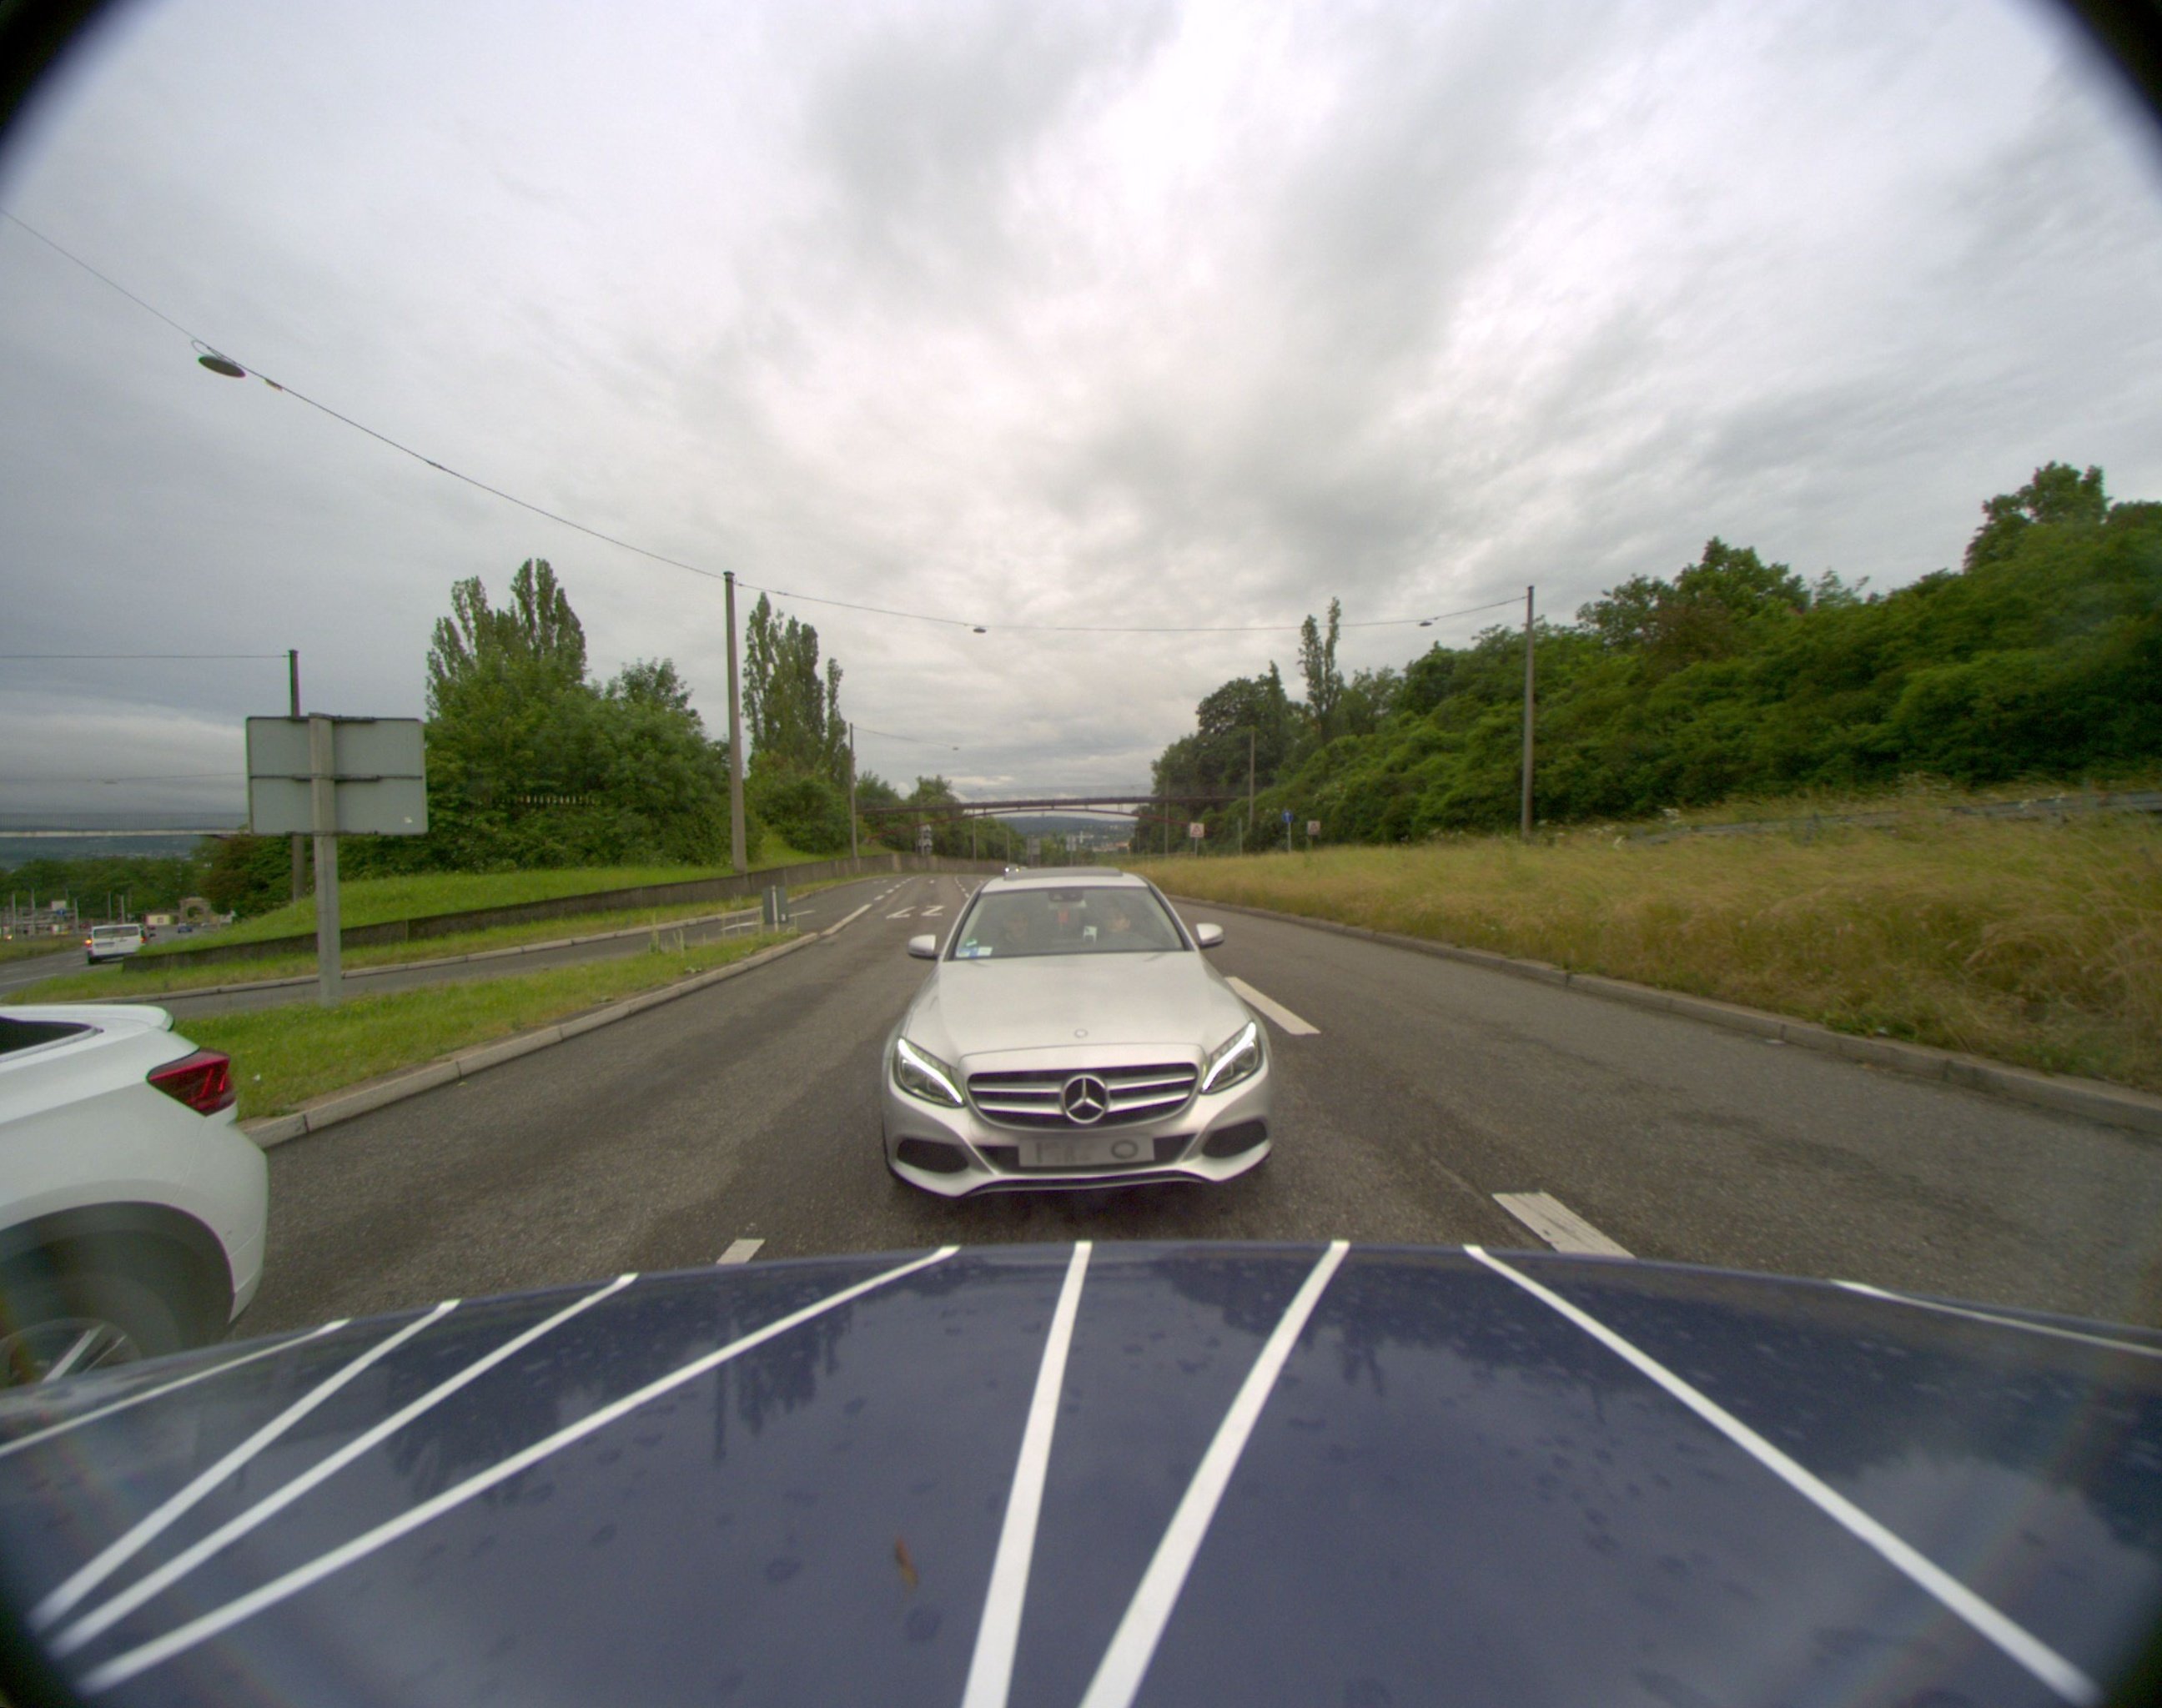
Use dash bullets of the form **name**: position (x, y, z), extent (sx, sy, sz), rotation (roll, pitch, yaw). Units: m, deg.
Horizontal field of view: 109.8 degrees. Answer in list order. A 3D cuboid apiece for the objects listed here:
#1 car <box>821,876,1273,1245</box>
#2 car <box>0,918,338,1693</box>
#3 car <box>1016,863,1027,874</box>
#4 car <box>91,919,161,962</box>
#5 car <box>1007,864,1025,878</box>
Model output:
- **car**: position (-0.038, 0.957, 5.303), extent (1.894, 1.361, 4.135), rotation (-1, 1, 3)
- **car**: position (-3.094, 1.030, 0.158), extent (1.718, 1.544, 4.228), rotation (-2, 1, -2)
- **car**: position (-10.598, 2.572, 135.539), extent (1.912, 1.668, 3.999), rotation (-5, 0, -5)
- **car**: position (-48.397, 4.358, 38.550), extent (4.811, 1.837, 2.003), rotation (-4, 0, 39)
- **car**: position (-9.236, 2.398, 108.023), extent (1.911, 1.668, 4.000), rotation (-5, 0, 2)
